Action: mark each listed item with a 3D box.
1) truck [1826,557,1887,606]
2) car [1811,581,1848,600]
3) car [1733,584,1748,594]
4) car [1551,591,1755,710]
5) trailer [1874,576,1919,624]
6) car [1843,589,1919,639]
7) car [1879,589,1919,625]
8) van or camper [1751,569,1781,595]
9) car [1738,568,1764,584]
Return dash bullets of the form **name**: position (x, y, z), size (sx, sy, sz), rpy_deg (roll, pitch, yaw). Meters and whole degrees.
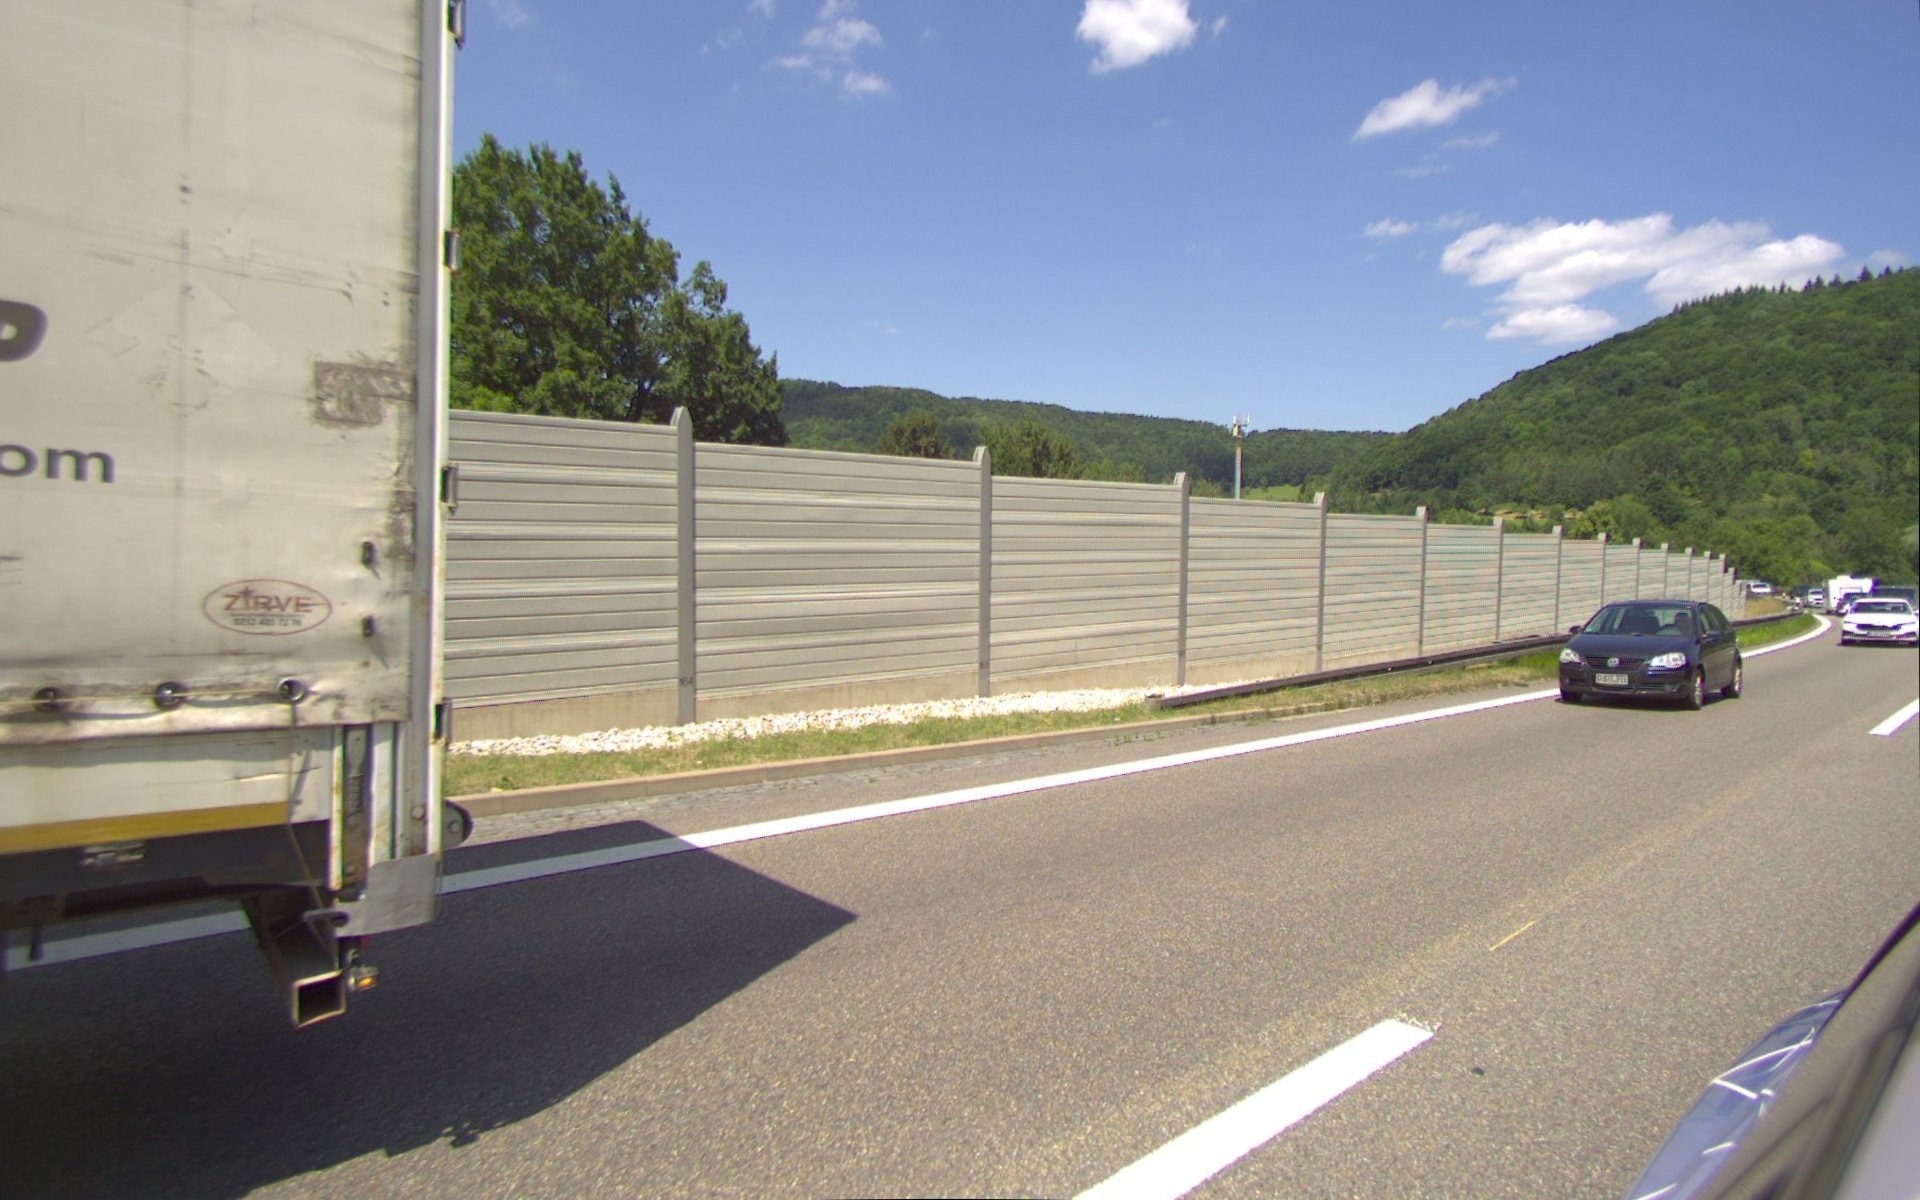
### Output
- **truck**: position (63.229, -1.277, 71.530), size (2.589, 3.147, 6.766), rpy_deg (-3, -1, 37)
- **car**: position (76.190, -0.856, 88.729), size (1.685, 1.552, 3.641), rpy_deg (-3, -1, 30)
- **car**: position (114.276, -1.600, 148.122), size (1.235, 1.497, 2.929), rpy_deg (-3, -1, 30)
- **car**: position (10.071, 0.616, 14.599), size (3.775, 1.440, 1.693), rpy_deg (-1, 1, -44)
- **trailer**: position (41.504, -0.033, 44.393), size (1.992, 1.994, 3.940), rpy_deg (-1, 0, 42)
- **car**: position (28.752, 0.428, 31.233), size (3.658, 1.448, 1.905), rpy_deg (1, 0, -43)
- **car**: position (38.998, 0.276, 41.631), size (3.677, 1.400, 1.486), rpy_deg (-1, 2, -44)
- **van or camper**: position (96.533, -2.095, 121.253), size (1.892, 3.065, 4.829), rpy_deg (0, 0, 27)
- **car**: position (101.126, -3.039, 129.384), size (1.982, 2.039, 3.960), rpy_deg (-2, 0, 29)
